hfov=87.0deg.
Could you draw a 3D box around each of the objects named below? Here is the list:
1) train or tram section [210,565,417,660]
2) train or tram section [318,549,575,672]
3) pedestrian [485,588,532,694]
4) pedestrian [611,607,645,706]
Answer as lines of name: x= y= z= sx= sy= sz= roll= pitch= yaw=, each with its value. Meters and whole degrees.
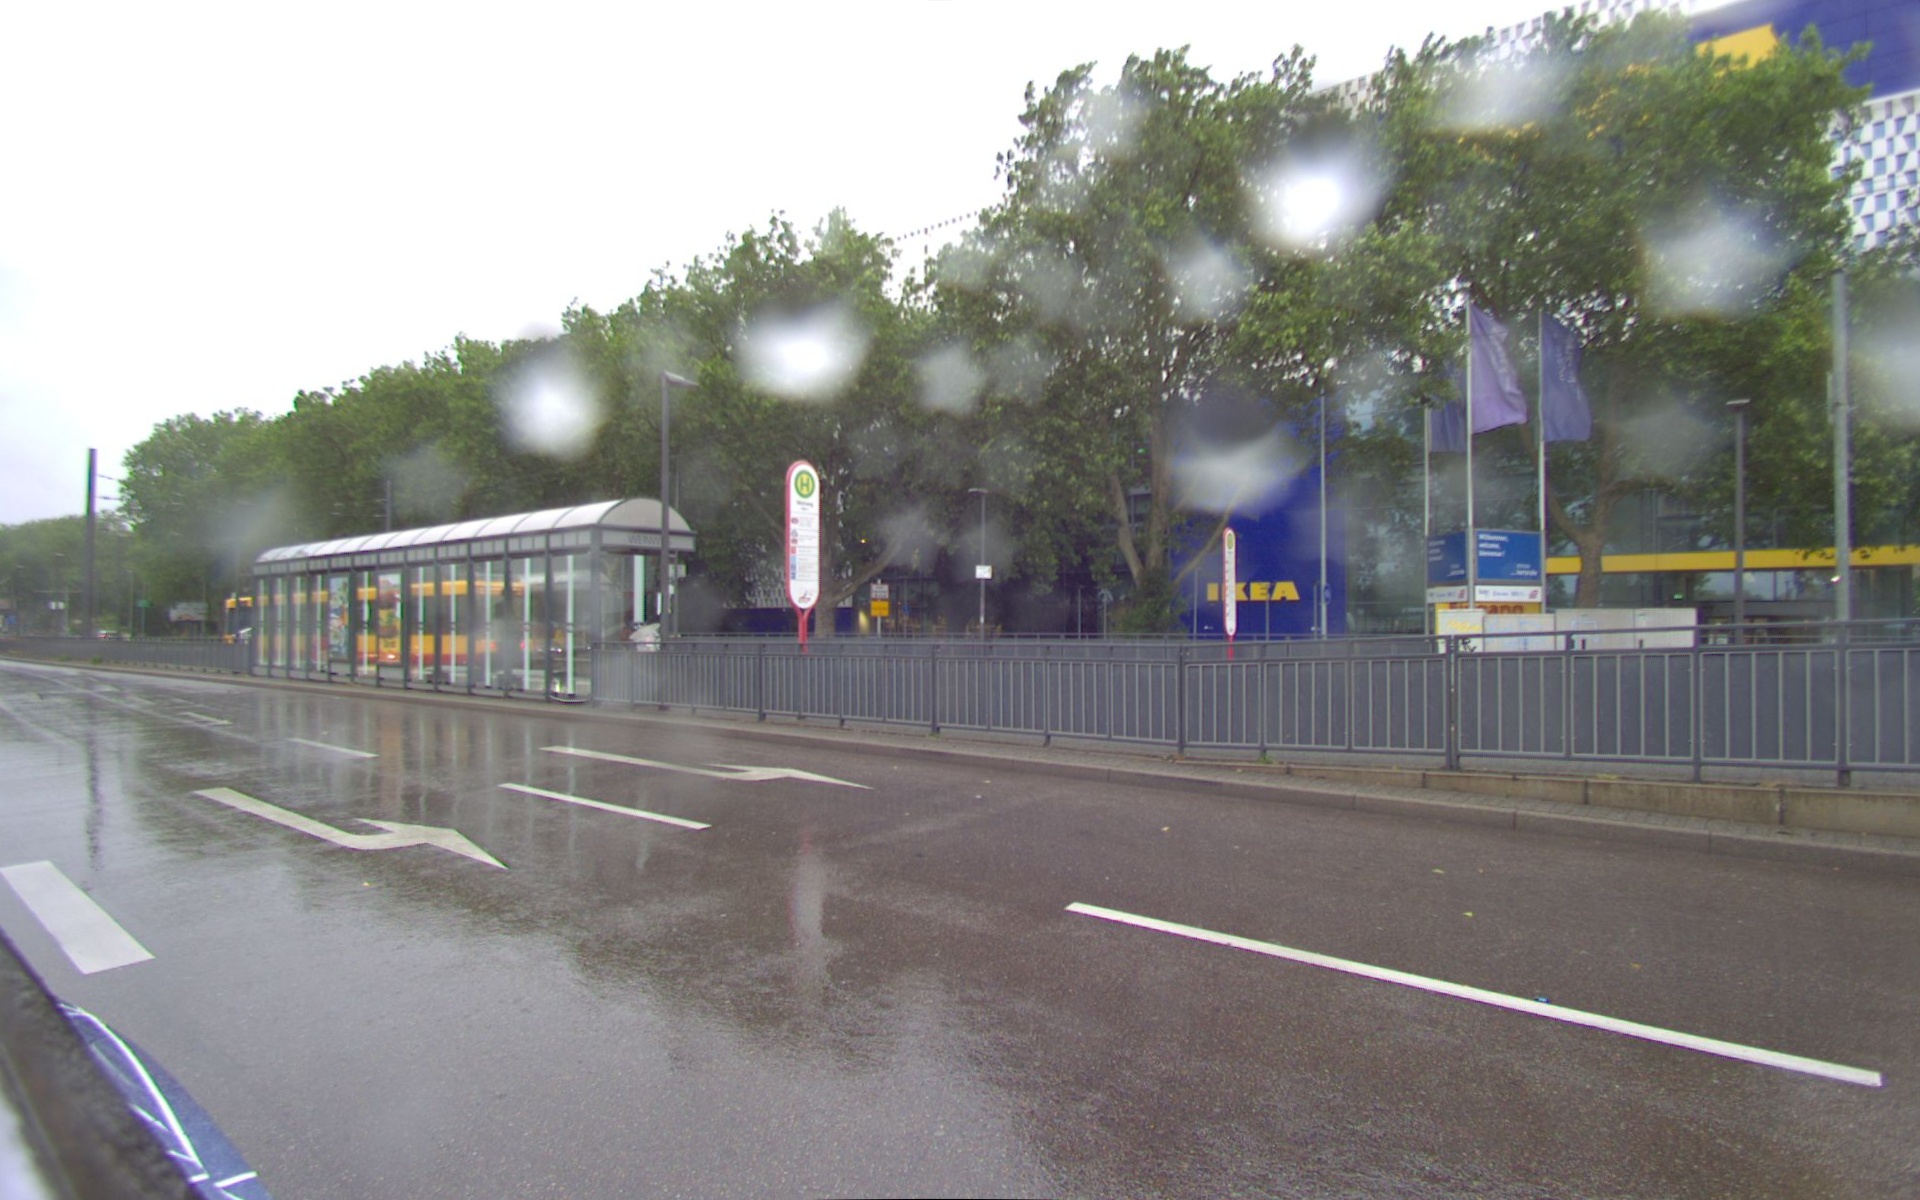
train or tram section: x=-30.401 y=0.586 z=46.985 sx=15.560 sy=3.827 sz=3.703 roll=-1 pitch=0 yaw=40
train or tram section: x=-19.457 y=0.393 z=37.626 sx=13.245 sy=3.868 sz=3.703 roll=-1 pitch=0 yaw=40
pedestrian: x=-8.287 y=0.726 z=18.554 sx=0.646 sy=1.885 sz=0.774 roll=-1 pitch=0 yaw=-33
pedestrian: x=-5.126 y=0.860 z=15.617 sx=0.317 sy=1.504 sz=0.416 roll=-2 pitch=1 yaw=-44
